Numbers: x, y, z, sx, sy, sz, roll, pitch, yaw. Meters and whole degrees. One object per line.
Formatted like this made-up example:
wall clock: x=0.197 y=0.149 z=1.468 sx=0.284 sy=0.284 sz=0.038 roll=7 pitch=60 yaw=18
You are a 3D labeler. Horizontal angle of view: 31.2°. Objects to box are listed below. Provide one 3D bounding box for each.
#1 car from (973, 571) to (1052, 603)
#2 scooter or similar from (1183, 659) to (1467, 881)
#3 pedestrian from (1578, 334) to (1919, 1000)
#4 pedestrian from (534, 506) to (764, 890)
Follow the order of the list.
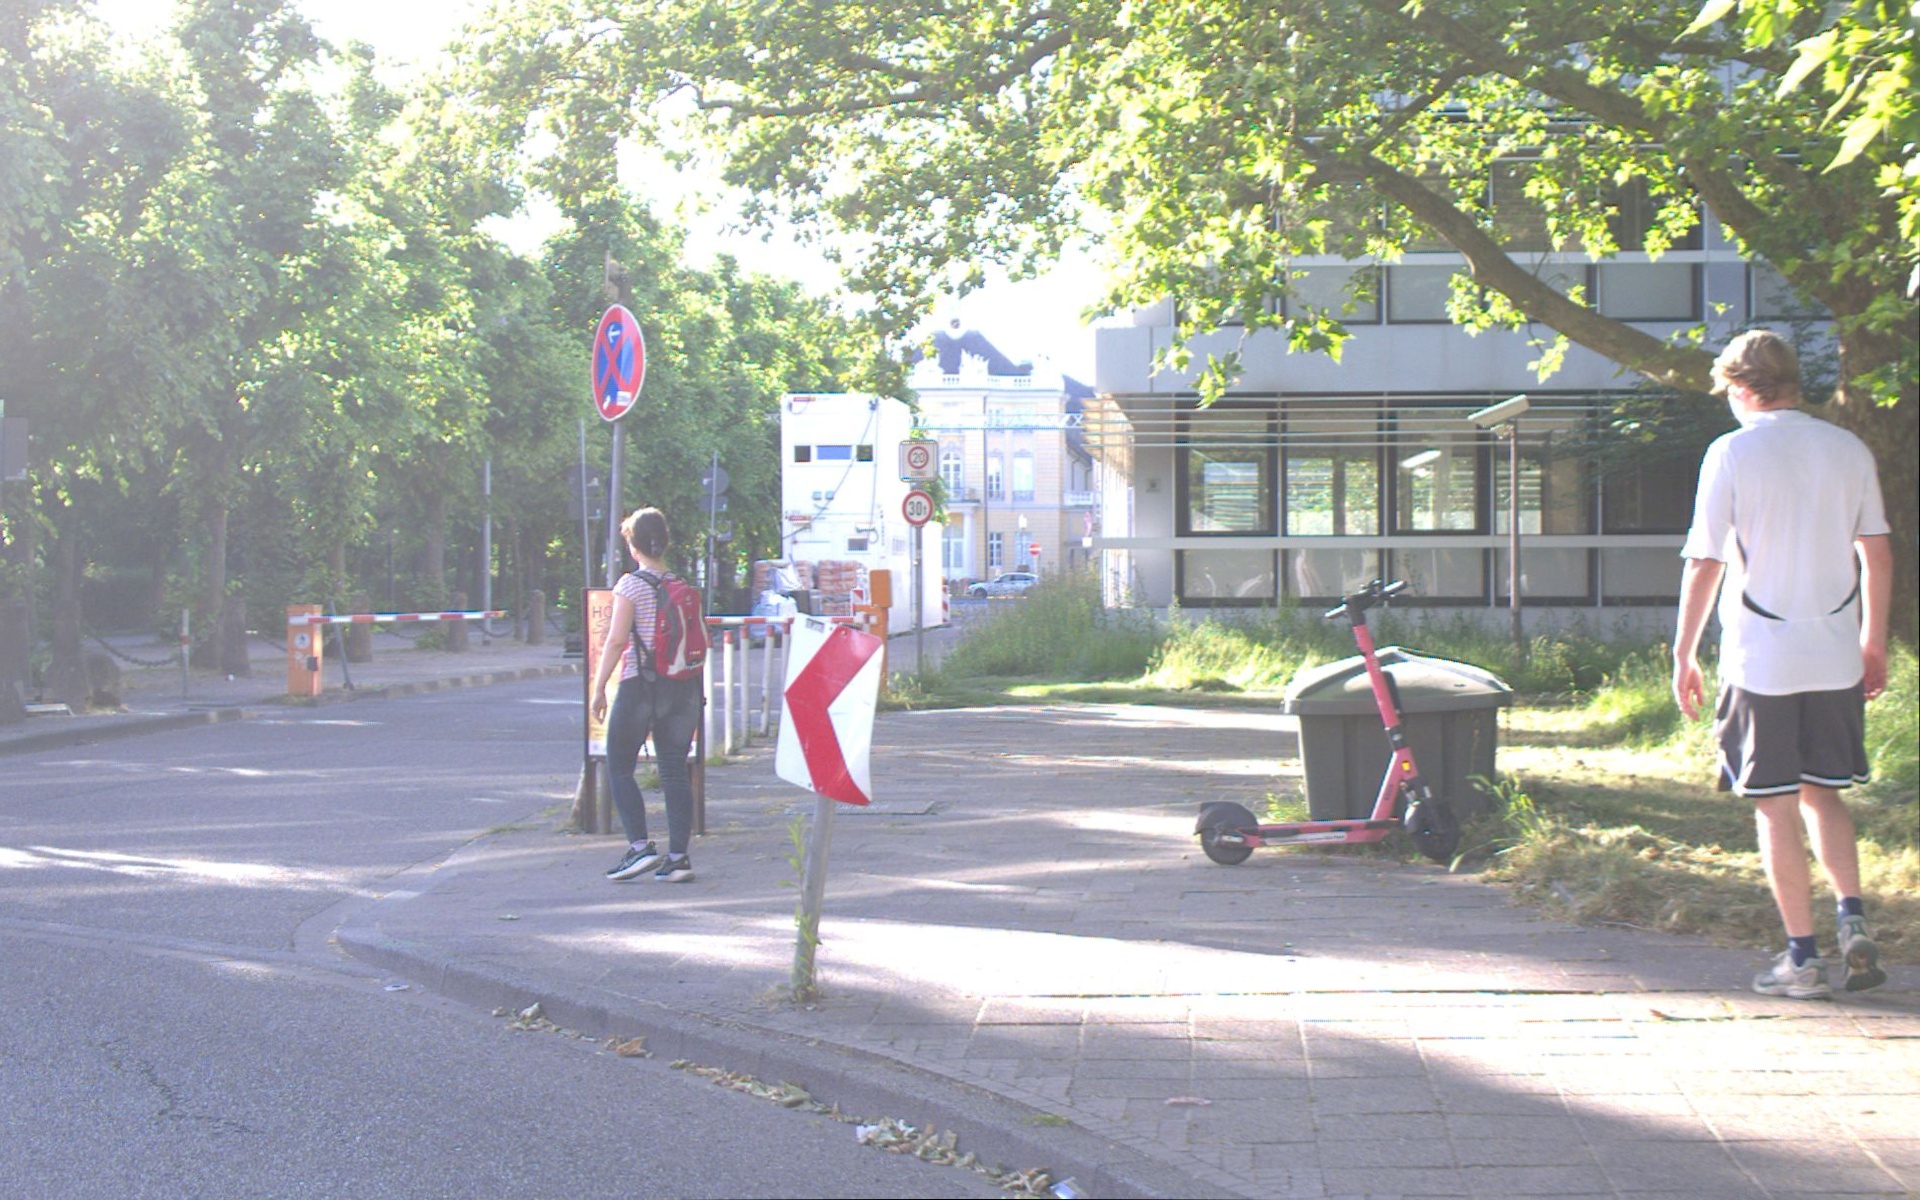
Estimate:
car: x=3.100 y=-0.760 z=202.106 sx=4.557 sy=1.784 sz=2.000 roll=1 pitch=1 yaw=3
scooter or similar: x=1.575 y=0.730 z=14.910 sx=1.146 sy=0.911 sz=0.419 roll=-2 pitch=-1 yaw=-3
pedestrian: x=2.377 y=0.182 z=9.969 sx=0.744 sy=1.807 sz=1.134 roll=2 pitch=1 yaw=-11
pedestrian: x=-1.373 y=0.414 z=15.092 sx=0.708 sy=1.618 sz=0.939 roll=0 pitch=0 yaw=-27
